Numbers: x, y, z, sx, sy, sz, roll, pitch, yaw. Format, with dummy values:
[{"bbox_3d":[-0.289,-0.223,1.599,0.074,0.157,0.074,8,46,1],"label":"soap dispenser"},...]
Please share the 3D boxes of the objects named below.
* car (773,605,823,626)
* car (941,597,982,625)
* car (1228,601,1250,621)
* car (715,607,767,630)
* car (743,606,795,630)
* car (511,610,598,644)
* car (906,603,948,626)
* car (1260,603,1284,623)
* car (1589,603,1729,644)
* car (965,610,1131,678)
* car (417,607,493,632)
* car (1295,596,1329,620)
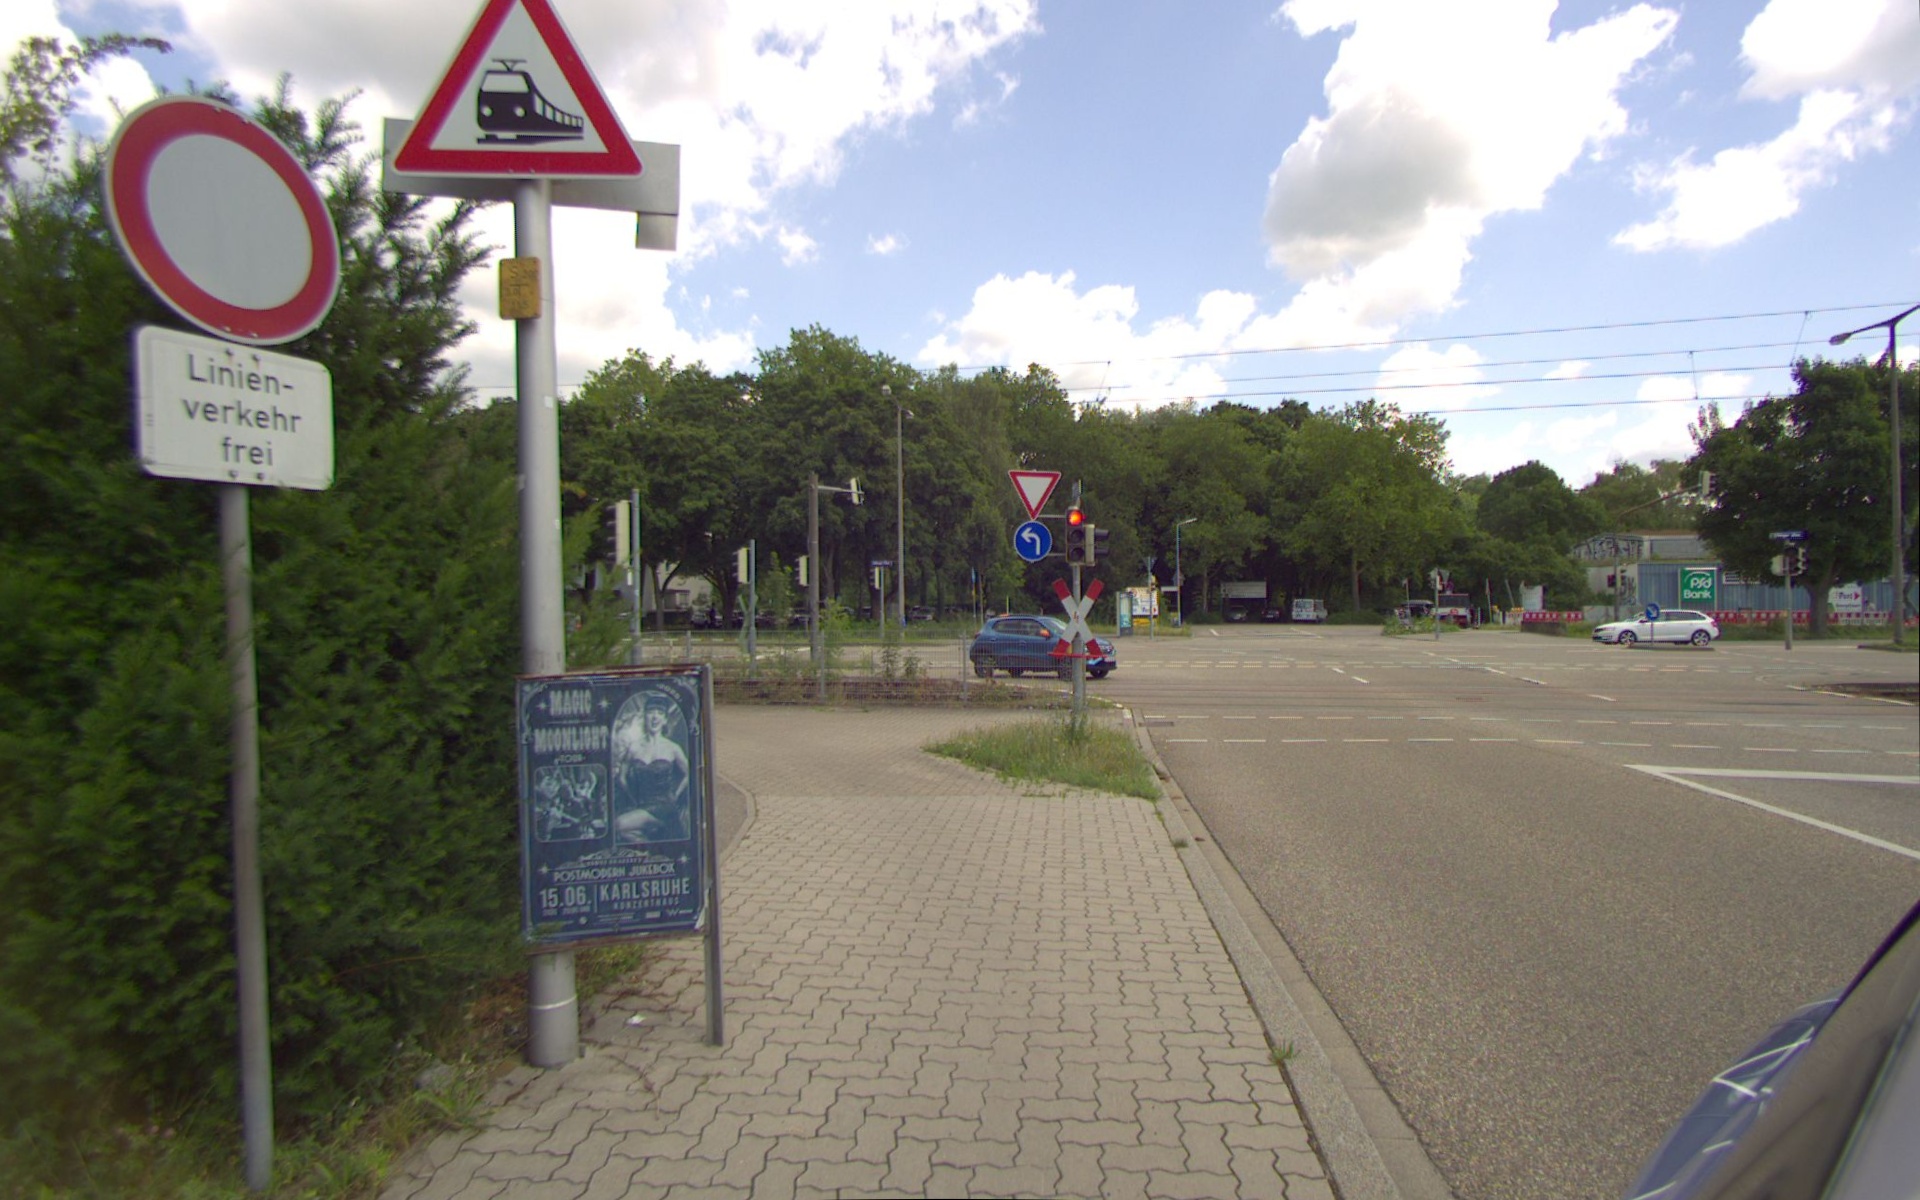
[{"bbox_3d":[-12.220,1.183,76.243,1.965,1.565,4.016,0,-1,-41],"label":"car"},{"bbox_3d":[0.131,0.847,76.927,1.974,2.039,3.975,-1,-1,19],"label":"car"},{"bbox_3d":[22.983,0.922,83.494,1.595,1.527,3.605,-1,1,13],"label":"car"},{"bbox_3d":[-15.803,1.330,72.977,1.965,1.608,4.016,0,-1,-41],"label":"car"},{"bbox_3d":[-14.132,1.333,74.693,1.965,1.608,4.015,0,-2,-41],"label":"car"},{"bbox_3d":[-20.379,1.344,50.932,3.711,1.614,1.786,-1,-1,10],"label":"car"},{"bbox_3d":[-2.514,1.110,78.458,1.797,1.731,4.099,-1,-1,21],"label":"car"},{"bbox_3d":[25.457,1.066,82.700,1.595,1.527,3.605,-1,1,13],"label":"car"},{"bbox_3d":[27.790,0.923,40.389,4.110,1.523,1.992,-1,1,13],"label":"car"},{"bbox_3d":[2.041,1.019,24.055,3.683,1.483,1.583,-2,-2,39],"label":"car"},{"bbox_3d":[-36.060,1.375,72.297,4.855,1.733,1.881,-1,-1,14],"label":"car"},{"bbox_3d":[28.264,0.602,81.277,1.921,1.815,3.582,0,1,30],"label":"car"}]
